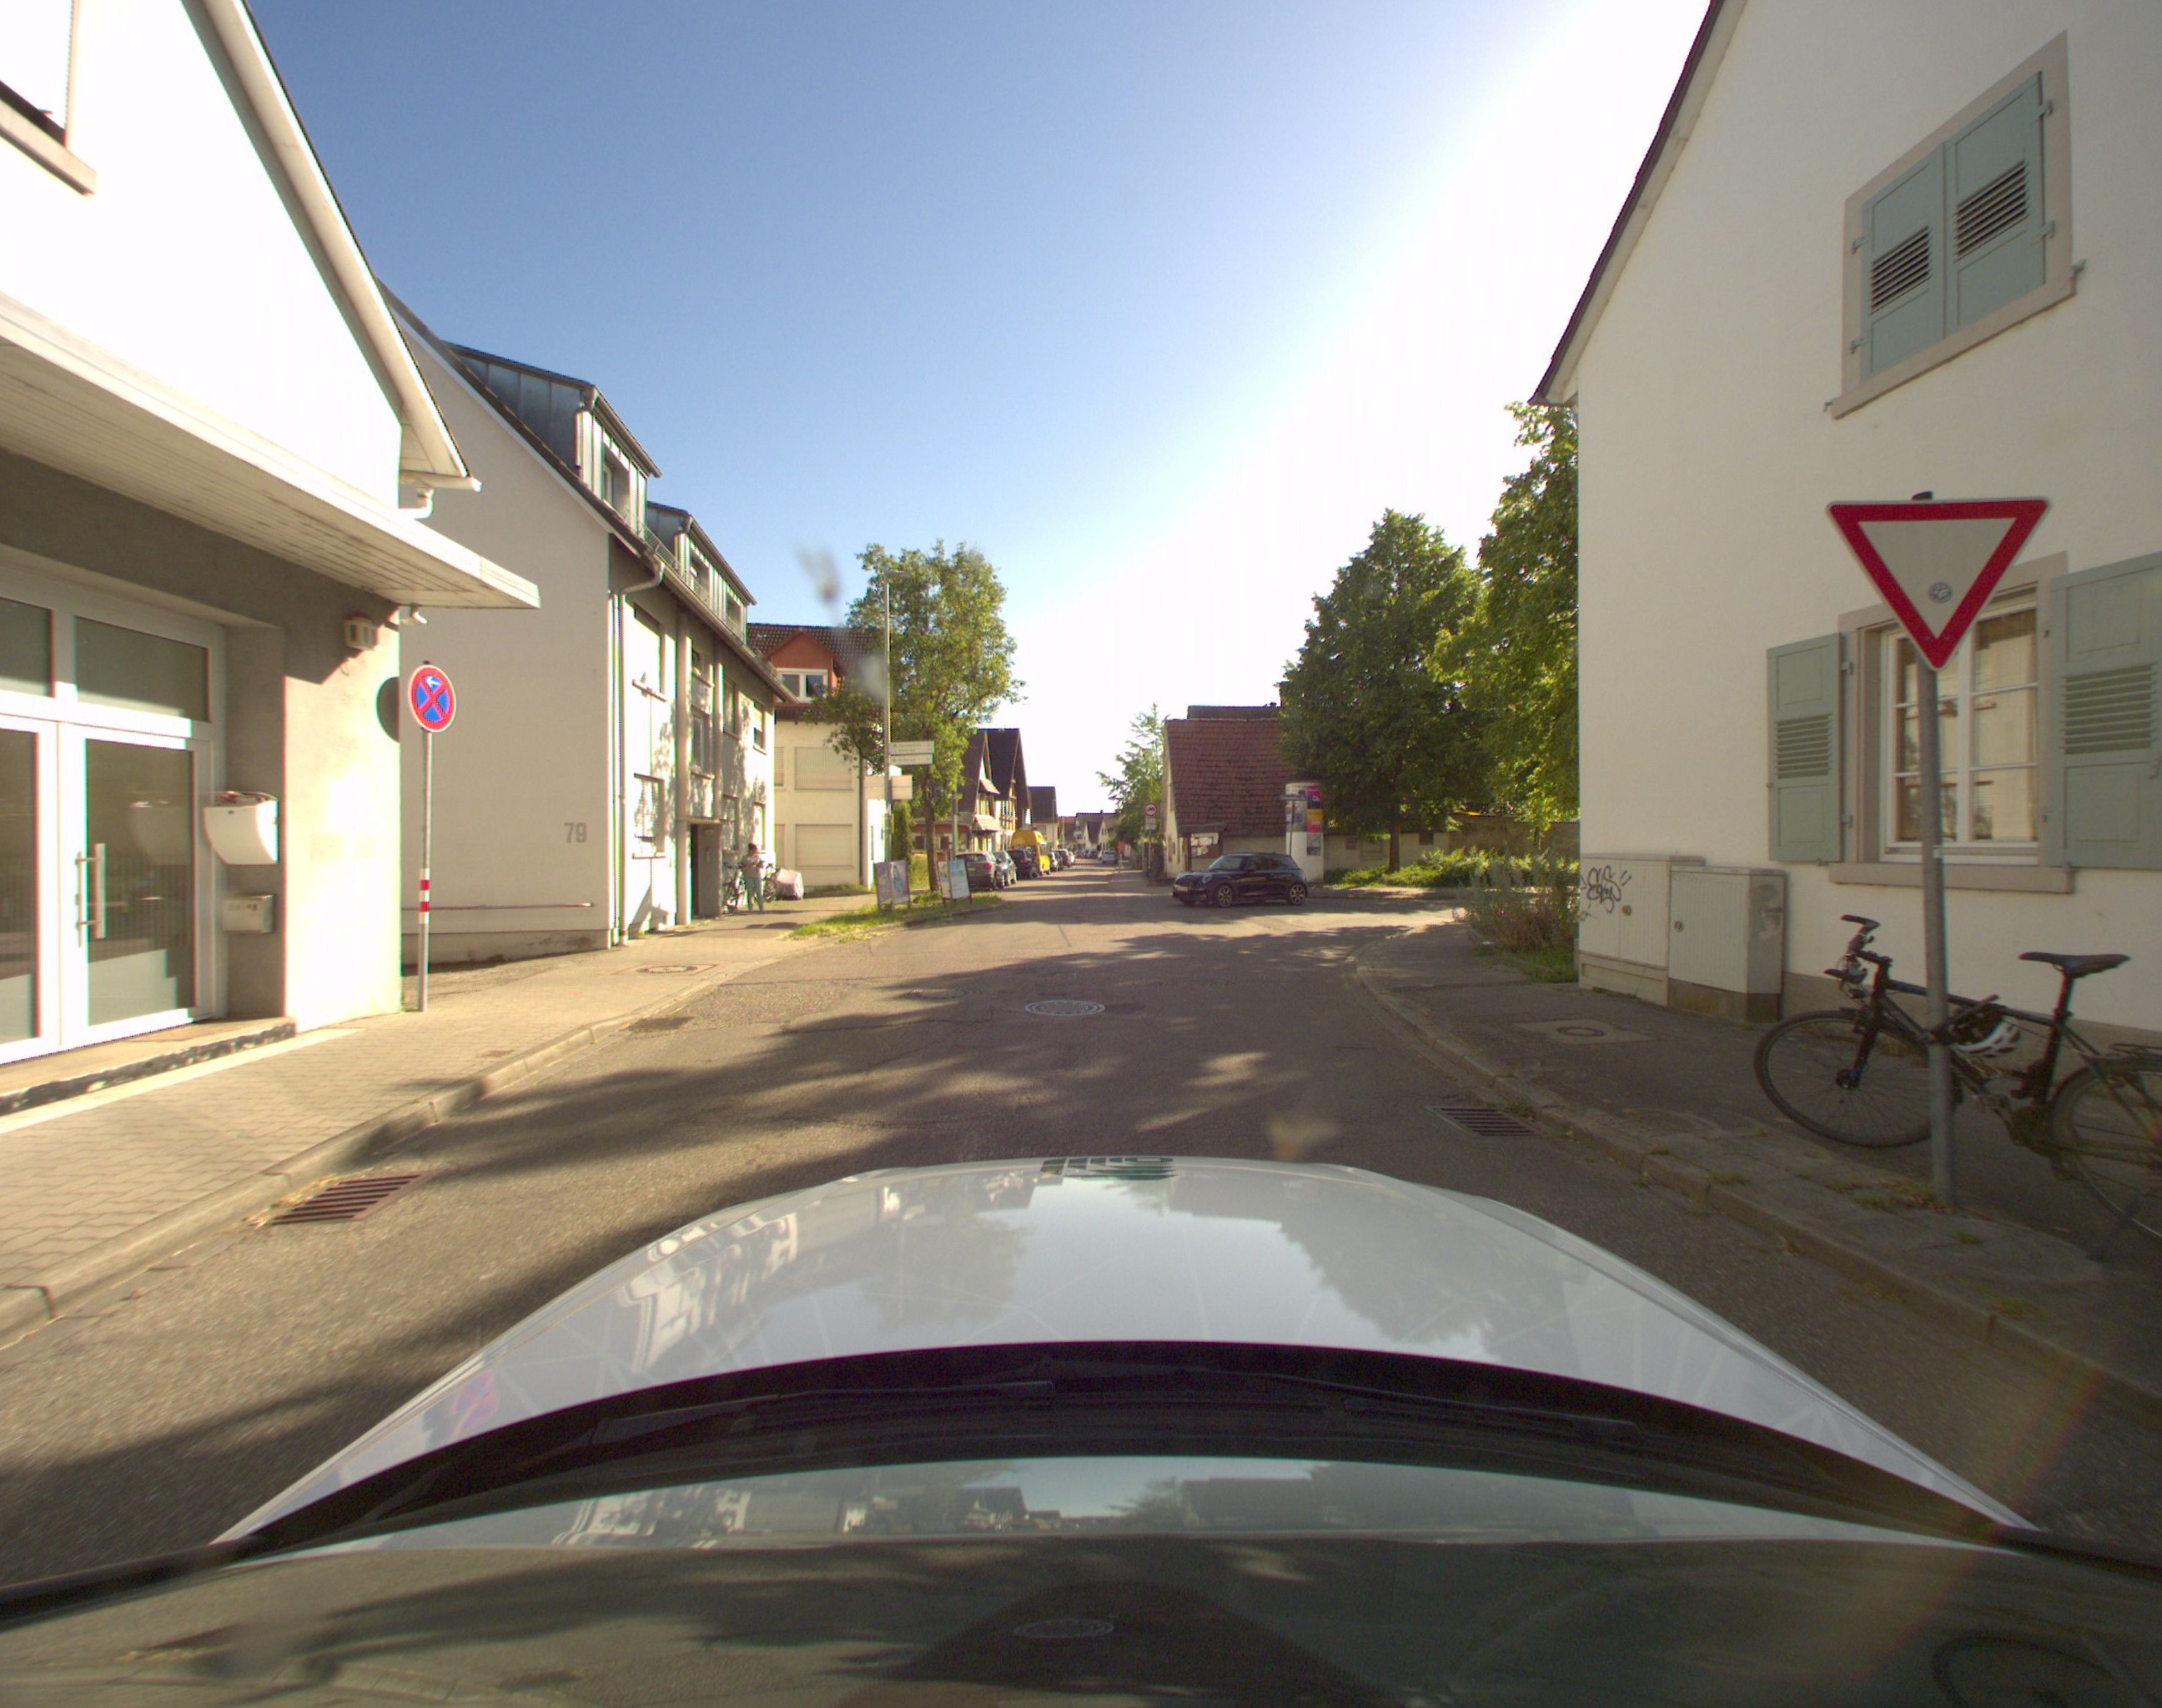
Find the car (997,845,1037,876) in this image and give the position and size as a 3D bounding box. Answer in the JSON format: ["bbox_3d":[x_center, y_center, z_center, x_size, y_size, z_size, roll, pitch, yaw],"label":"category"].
[{"bbox_3d":[-3.474,0.353,44.851,1.799,1.622,3.882,0,0,2],"label":"car"}]

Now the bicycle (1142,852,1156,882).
[{"bbox_3d":[2.808,0.515,33.464,0.431,1.176,1.834,-1,0,9],"label":"bicycle"}]

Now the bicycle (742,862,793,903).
[{"bbox_3d":[-8.556,0.757,22.317,0.576,1.052,2.036,-1,-1,0],"label":"bicycle"}]

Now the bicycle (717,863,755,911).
[{"bbox_3d":[-8.009,0.746,18.952,0.423,1.052,1.378,-1,-1,-6],"label":"bicycle"}]

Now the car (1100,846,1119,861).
[{"bbox_3d":[3.378,-0.106,97.215,1.967,1.713,3.993,0,0,-1],"label":"car"}]

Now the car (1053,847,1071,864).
[{"bbox_3d":[-1.668,0.101,72.645,1.583,1.442,3.613,0,0,-1],"label":"car"}]

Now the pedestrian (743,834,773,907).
[{"bbox_3d":[-7.606,0.393,19.168,0.482,1.693,0.556,0,-2,-3],"label":"pedestrian"}]

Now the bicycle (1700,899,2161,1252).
[{"bbox_3d":[3.715,0.794,3.473,0.435,1.079,1.883,-1,1,-11],"label":"bicycle"}]

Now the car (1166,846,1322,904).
[{"bbox_3d":[4.445,0.516,22.177,4.007,1.477,1.651,0,1,-26],"label":"car"}]

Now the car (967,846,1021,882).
[{"bbox_3d":[-3.779,0.419,35.916,1.799,1.505,4.109,0,0,2],"label":"car"}]

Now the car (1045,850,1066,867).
[{"bbox_3d":[-2.013,0.316,64.087,1.583,1.336,3.613,0,0,-1],"label":"car"}]

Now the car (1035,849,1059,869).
[{"bbox_3d":[-2.473,0.326,59.451,1.640,1.432,3.613,0,0,-1],"label":"car"}]

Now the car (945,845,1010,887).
[{"bbox_3d":[-3.919,0.448,31.524,1.860,1.505,4.109,0,0,2],"label":"car"}]

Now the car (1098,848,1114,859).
[{"bbox_3d":[3.861,-0.095,127.459,1.970,1.583,3.987,0,0,-5],"label":"car"}]

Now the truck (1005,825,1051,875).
[{"bbox_3d":[-3.178,-0.245,50.188,2.259,2.868,5.785,0,0,2],"label":"truck"}]

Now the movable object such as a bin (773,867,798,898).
[{"bbox_3d":[-8.981,0.862,24.799,0.626,0.945,0.658,0,-1,-12],"label":"movable object such as a bin"}]

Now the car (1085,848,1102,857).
[{"bbox_3d":[2.130,-0.234,139.924,1.975,1.583,3.978,0,0,-12],"label":"car"}]
